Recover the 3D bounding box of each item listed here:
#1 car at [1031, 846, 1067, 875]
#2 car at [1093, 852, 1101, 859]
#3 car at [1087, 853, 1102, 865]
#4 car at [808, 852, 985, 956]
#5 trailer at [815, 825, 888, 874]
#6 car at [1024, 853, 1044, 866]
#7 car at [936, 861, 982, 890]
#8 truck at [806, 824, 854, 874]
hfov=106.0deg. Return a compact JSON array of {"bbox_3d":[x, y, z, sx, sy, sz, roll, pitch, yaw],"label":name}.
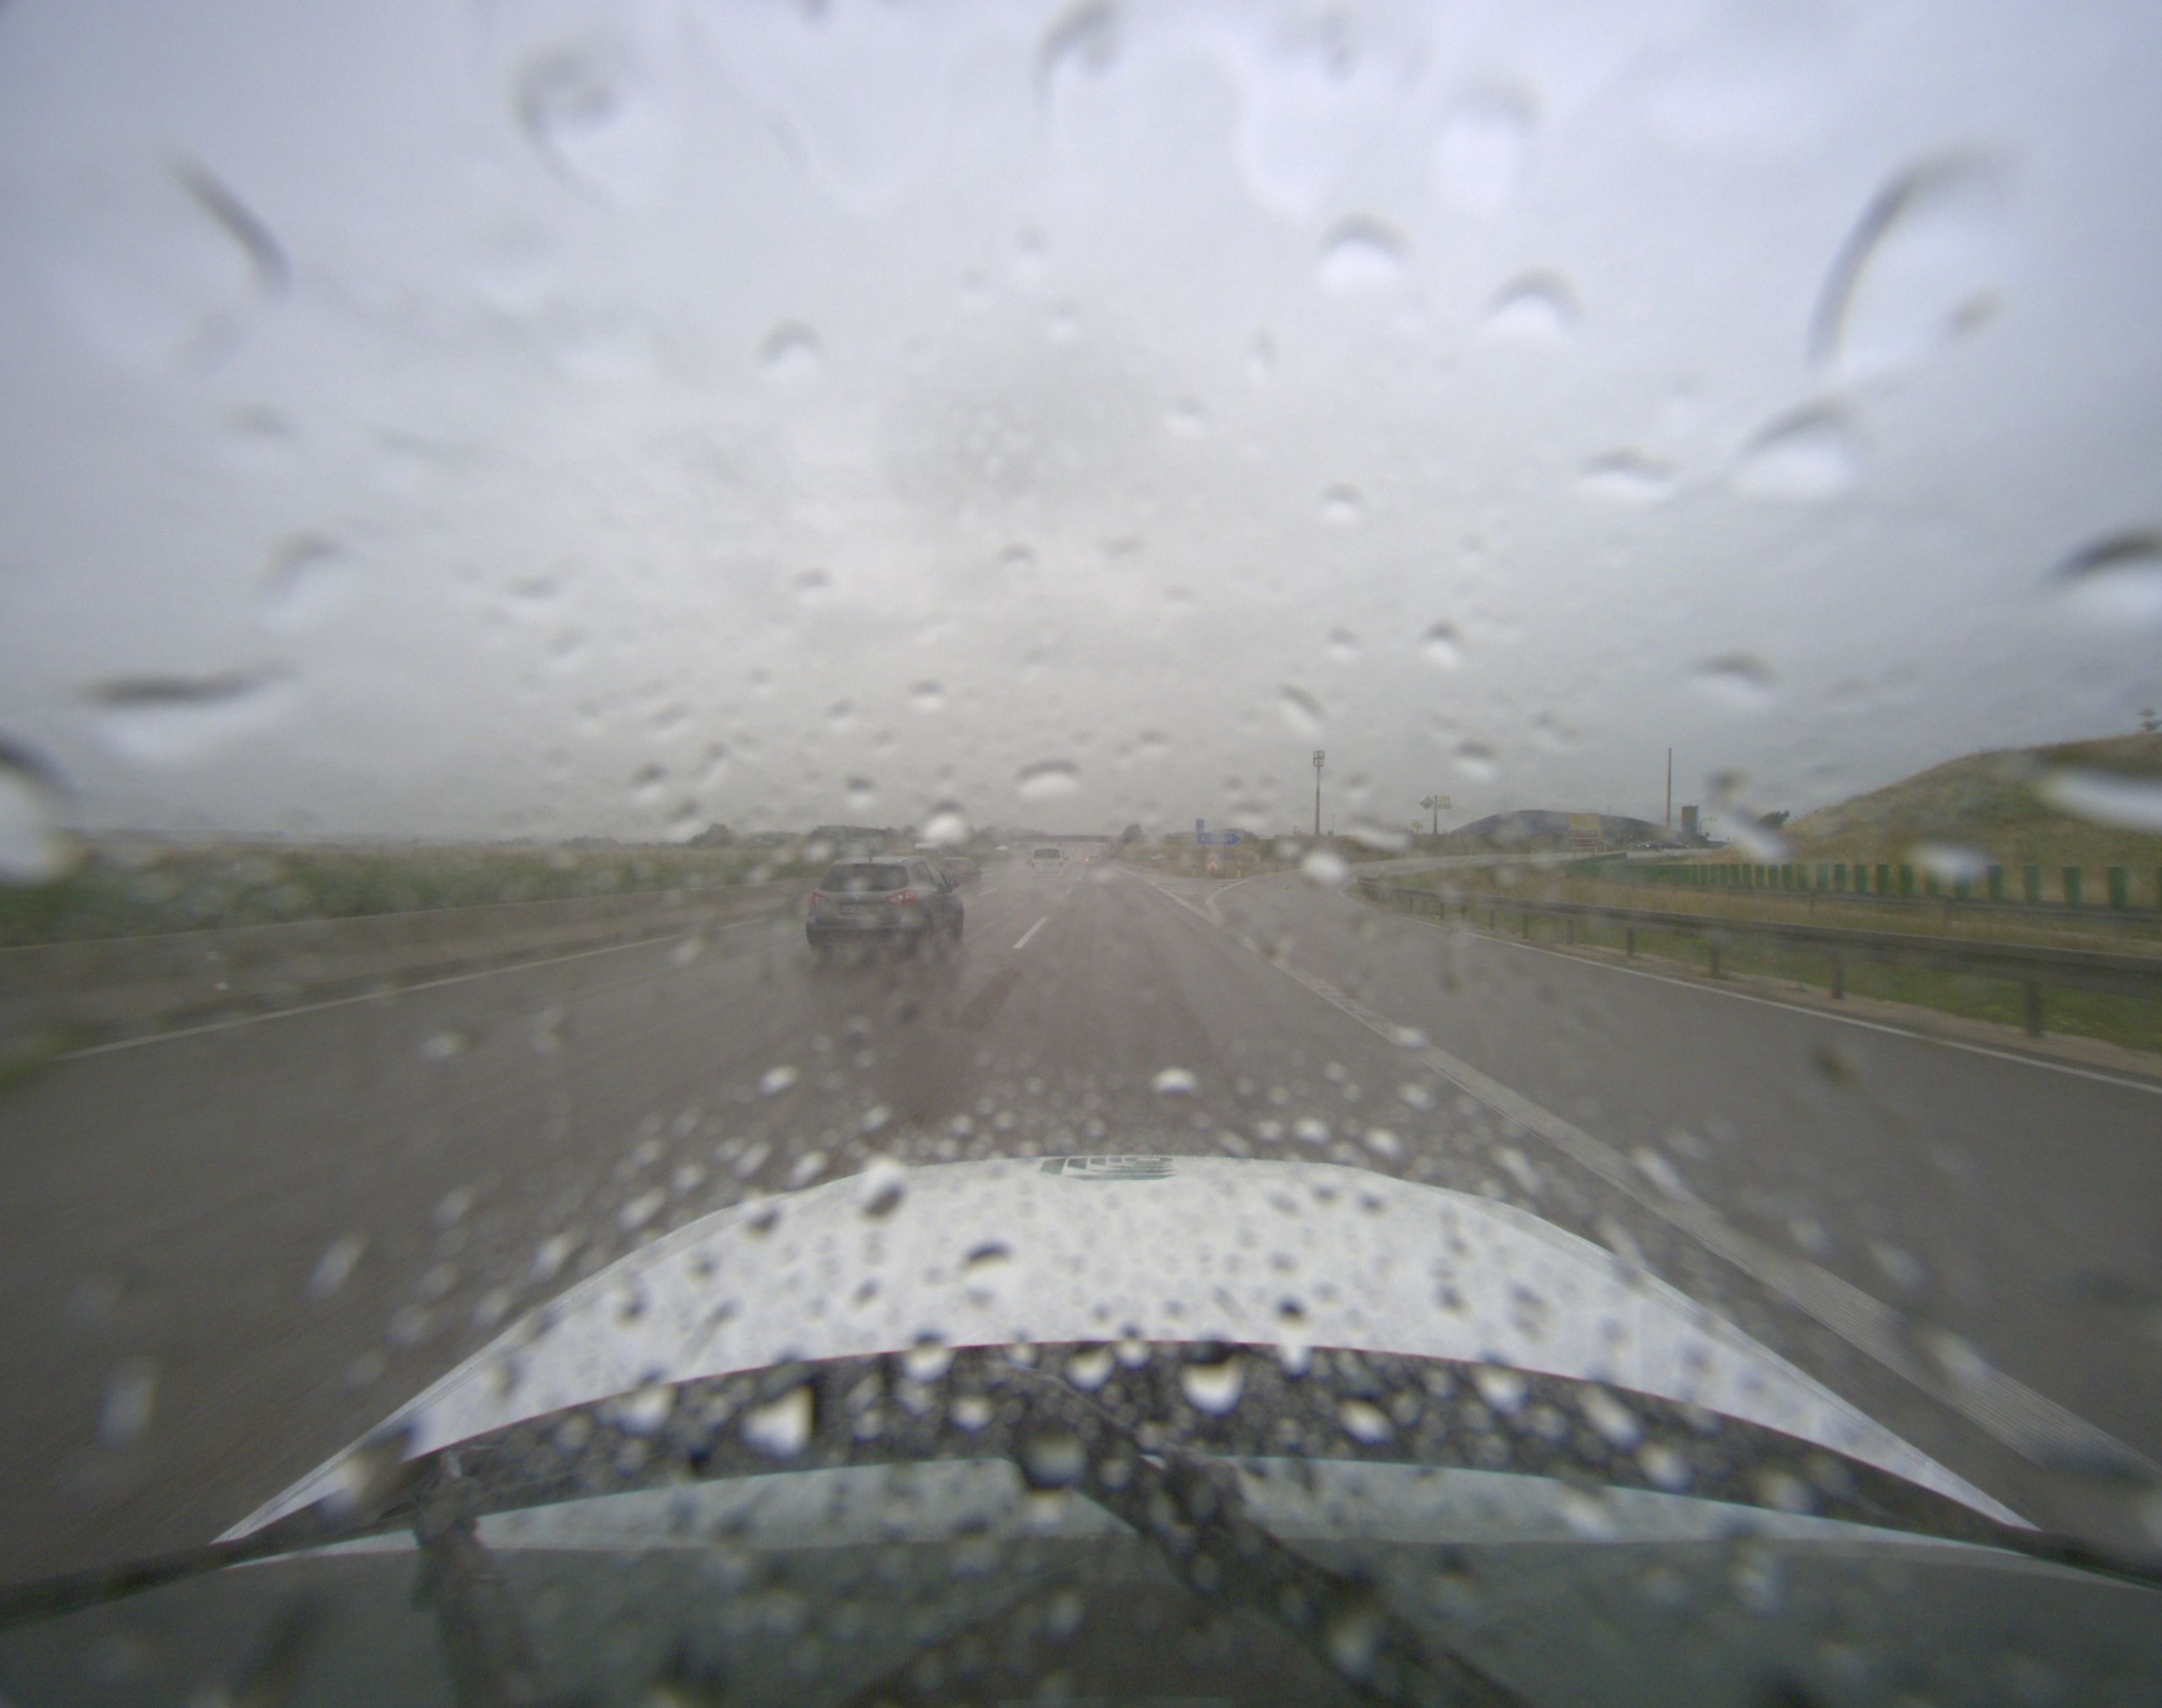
[{"bbox_3d":[-1.809,0.367,46.894,1.891,1.585,3.999,0,0,0],"label":"car"},{"bbox_3d":[4.827,0.411,249.844,1.989,2.101,3.996,2,1,-3],"label":"car"},{"bbox_3d":[1.449,0.552,84.614,1.462,1.208,2.993,0,0,2],"label":"car"},{"bbox_3d":[-2.992,0.742,14.343,1.839,1.513,4.759,-1,0,2],"label":"car"},{"bbox_3d":[-20.521,-0.361,74.010,2.216,3.997,14.210,0,0,1],"label":"trailer"},{"bbox_3d":[-5.006,0.579,86.761,1.459,1.257,3.348,-1,-1,9],"label":"car"},{"bbox_3d":[-5.984,1.017,40.315,1.607,1.354,4.001,0,0,1],"label":"car"},{"bbox_3d":[-20.683,-0.359,67.444,2.205,3.983,5.186,0,0,1],"label":"truck"}]
